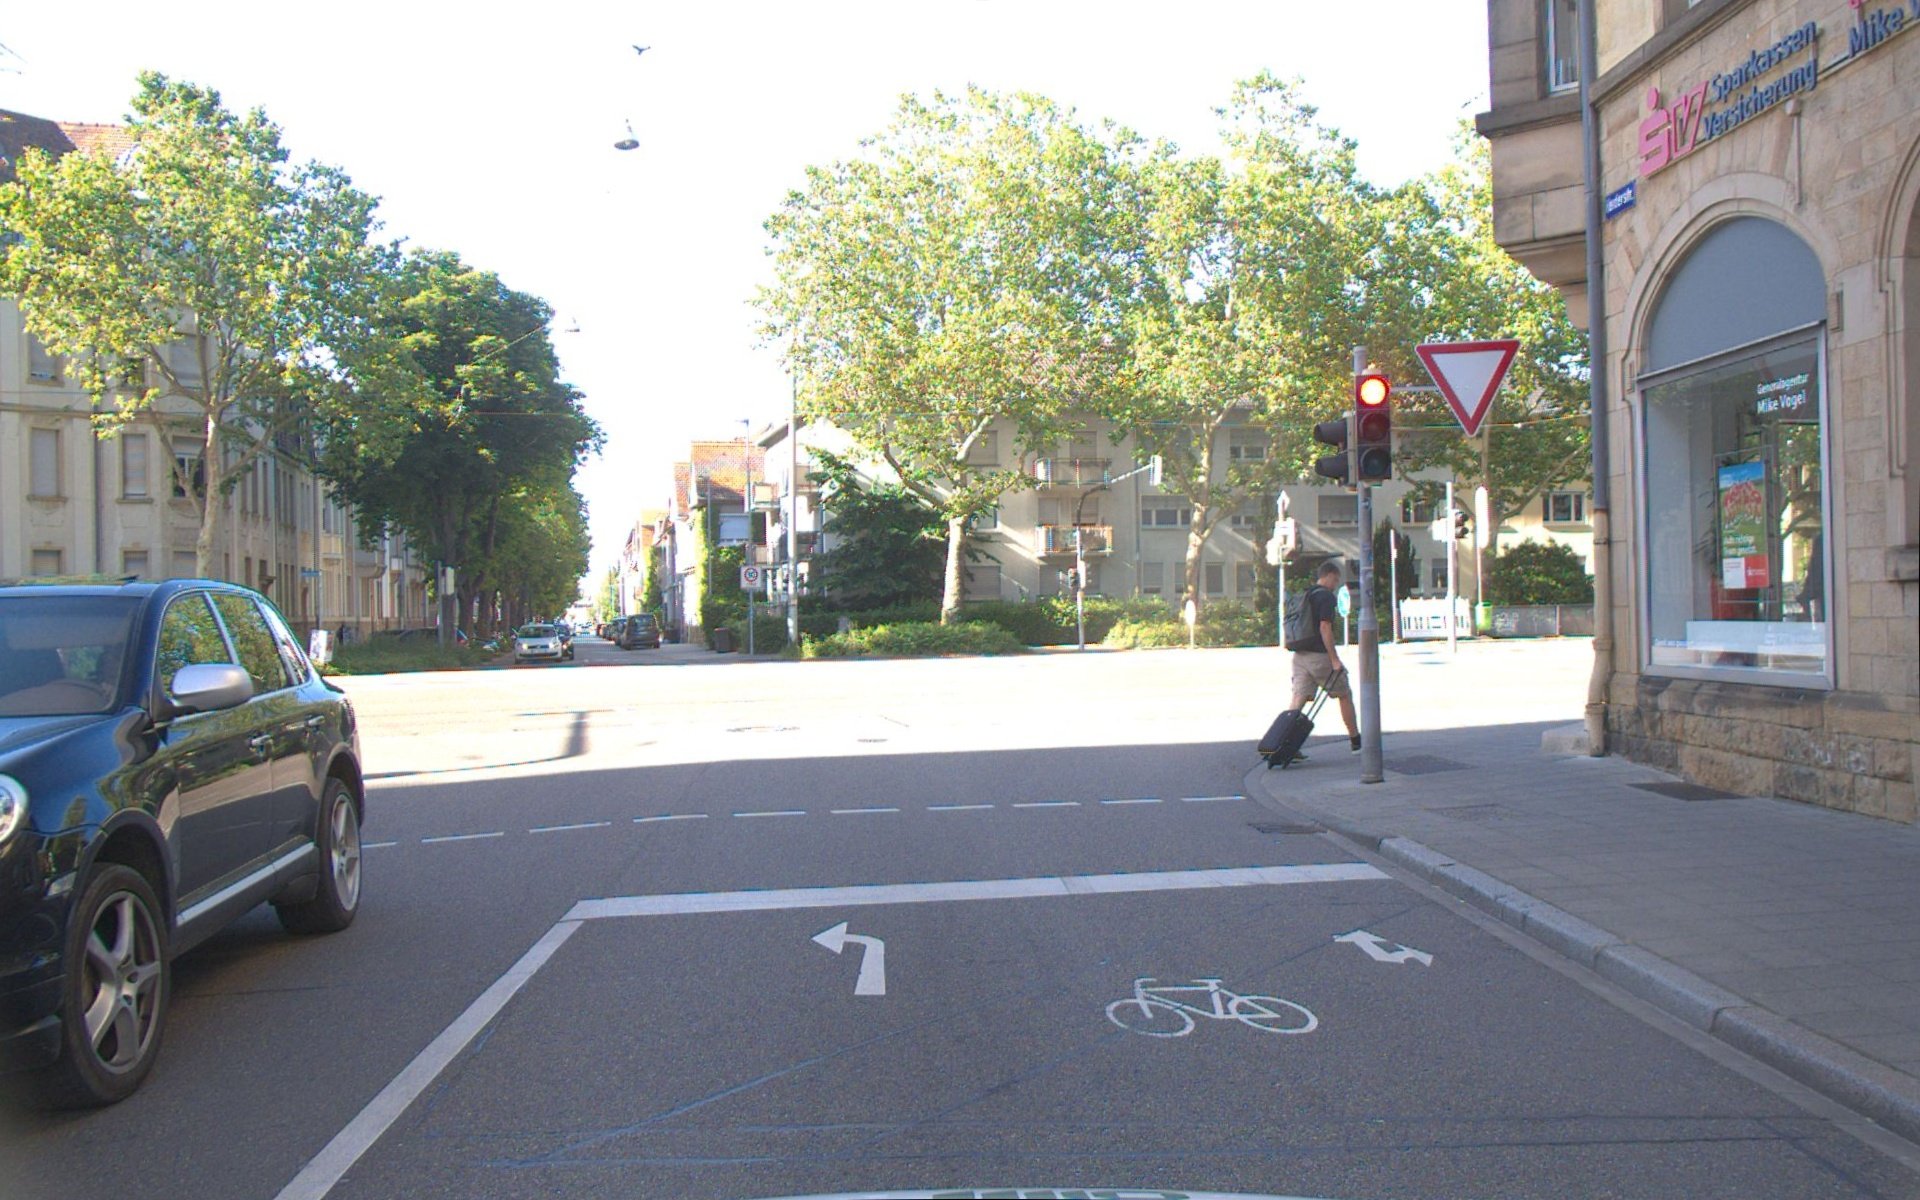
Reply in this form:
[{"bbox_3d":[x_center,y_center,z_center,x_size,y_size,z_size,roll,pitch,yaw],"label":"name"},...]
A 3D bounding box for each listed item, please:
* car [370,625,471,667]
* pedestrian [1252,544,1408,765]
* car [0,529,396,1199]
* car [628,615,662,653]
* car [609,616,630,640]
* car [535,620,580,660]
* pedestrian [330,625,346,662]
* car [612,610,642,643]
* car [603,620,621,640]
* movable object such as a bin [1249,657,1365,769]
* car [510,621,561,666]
[{"bbox_3d":[-20.444,1.739,62.808,3.572,1.483,1.650,-1,0,-16],"label":"car"},{"bbox_3d":[3.382,0.482,15.162,1.049,1.880,0.745,-5,1,-18],"label":"pedestrian"},{"bbox_3d":[-3.706,0.730,6.300,2.034,1.723,4.700,-3,0,-8],"label":"car"},{"bbox_3d":[-17.974,1.916,94.219,1.742,1.952,3.523,-3,1,-12],"label":"car"},{"bbox_3d":[-30.039,2.444,145.938,1.742,1.952,3.523,-3,1,-12],"label":"car"},{"bbox_3d":[-16.813,1.656,69.231,1.669,1.509,3.523,-3,1,-12],"label":"car"},{"bbox_3d":[-24.899,1.748,66.219,0.480,1.467,0.702,1,-1,-16],"label":"pedestrian"},{"bbox_3d":[-21.008,1.651,104.292,1.742,1.952,3.523,-3,1,-12],"label":"car"},{"bbox_3d":[-37.928,3.246,180.187,1.742,1.952,3.523,-3,1,-12],"label":"car"},{"bbox_3d":[3.055,0.985,14.584,0.847,0.907,0.508,-2,0,-13],"label":"movable object such as a bin"},{"bbox_3d":[-16.164,1.638,63.080,1.669,1.509,3.523,-3,1,-12],"label":"car"}]
